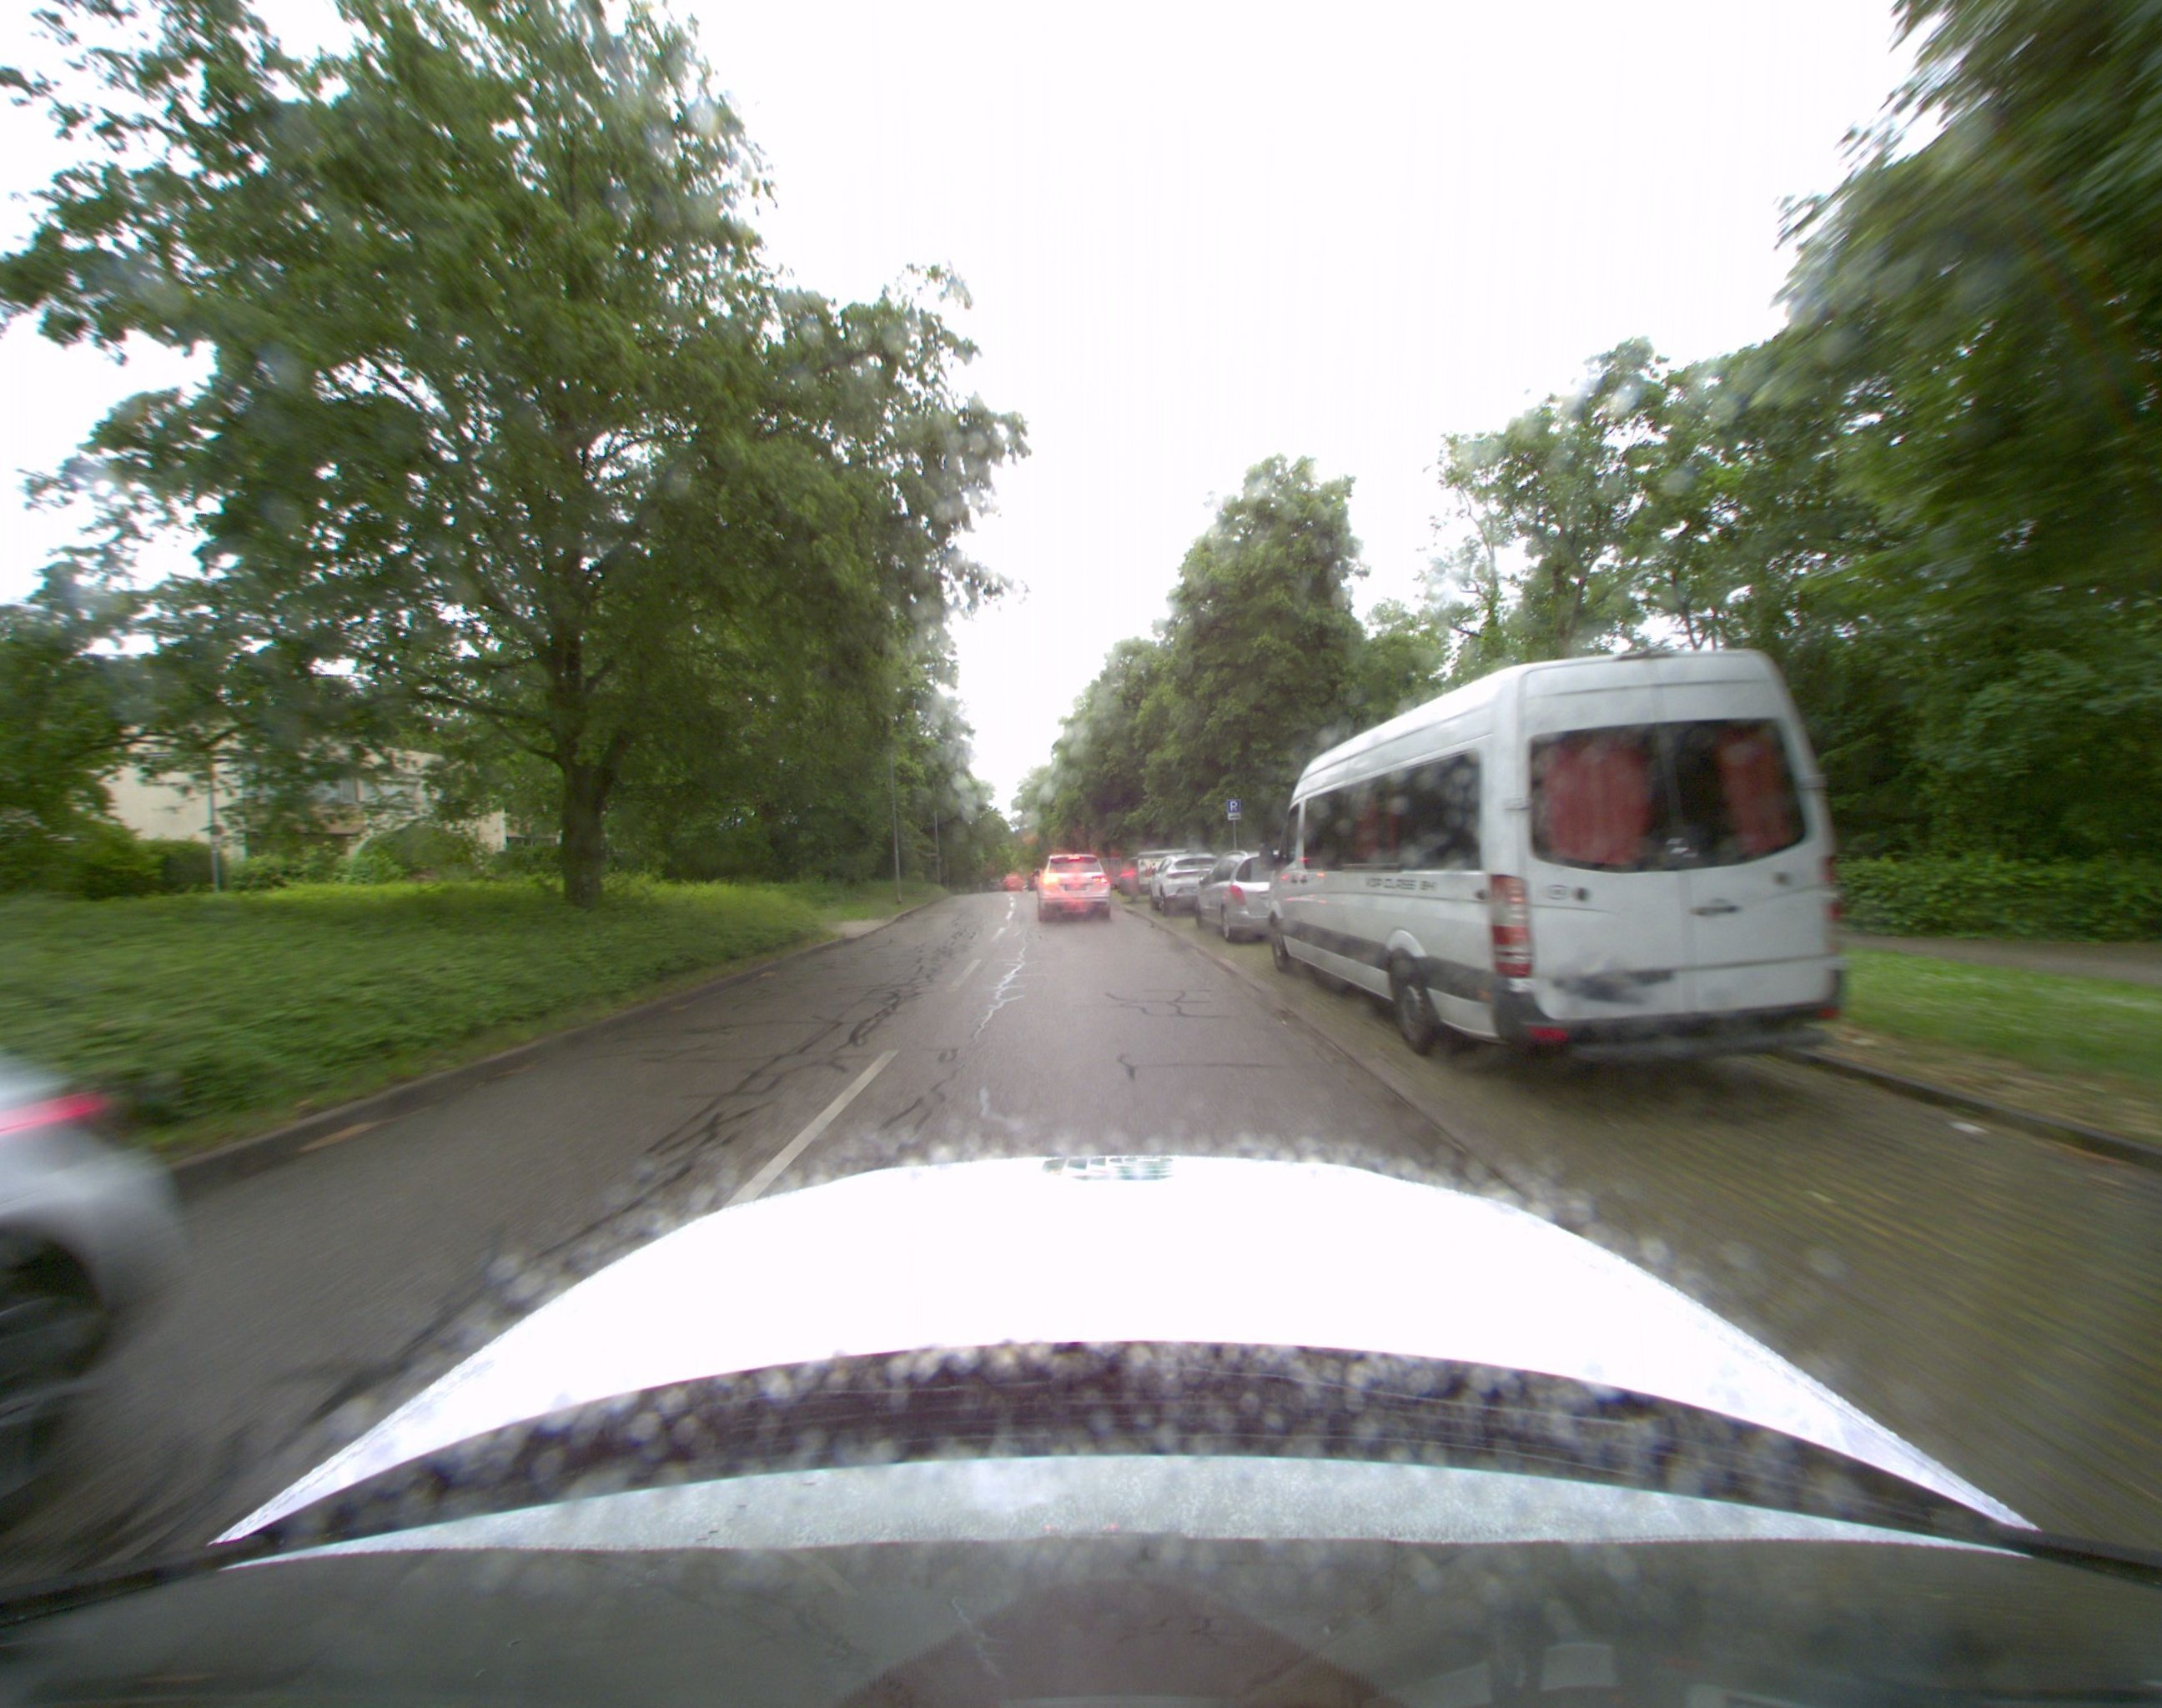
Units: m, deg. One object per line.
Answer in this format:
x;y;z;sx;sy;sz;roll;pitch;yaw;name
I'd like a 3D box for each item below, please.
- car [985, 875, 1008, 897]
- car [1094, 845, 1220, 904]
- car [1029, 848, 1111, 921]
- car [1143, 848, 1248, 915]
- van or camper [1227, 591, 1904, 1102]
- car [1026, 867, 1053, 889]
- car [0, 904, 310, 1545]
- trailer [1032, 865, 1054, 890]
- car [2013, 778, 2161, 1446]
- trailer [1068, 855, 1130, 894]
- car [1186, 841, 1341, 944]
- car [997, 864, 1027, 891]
-9.121;3.469;87.834;1.995;2.013;3.985;-3;2;-11;car
2.442;0.711;26.956;1.621;1.681;3.957;-3;-1;-44;car
-0.187;0.758;21.799;1.898;1.685;4.203;-3;-1;2;car
2.908;0.645;21.707;1.988;1.497;4.564;-3;0;-1;car
3.359;-0.112;8.572;2.009;2.582;8.436;-4;1;0;van or camper
-4.122;2.425;80.444;1.993;1.910;5.490;-3;-3;-9;car
-3.463;0.988;0.832;1.660;1.477;3.731;-5;0;0;car
-3.566;2.202;75.743;1.529;2.076;3.988;-4;-3;-8;trailer
3.314;0.555;0.214;1.859;1.511;3.725;-3;1;0;car
0.874;1.151;44.256;2.447;1.813;5.876;-4;-2;-7;trailer
3.238;0.624;15.357;1.800;1.539;4.265;-4;0;-1;car
-5.948;1.999;69.800;1.995;2.013;3.985;-3;2;-11;car
